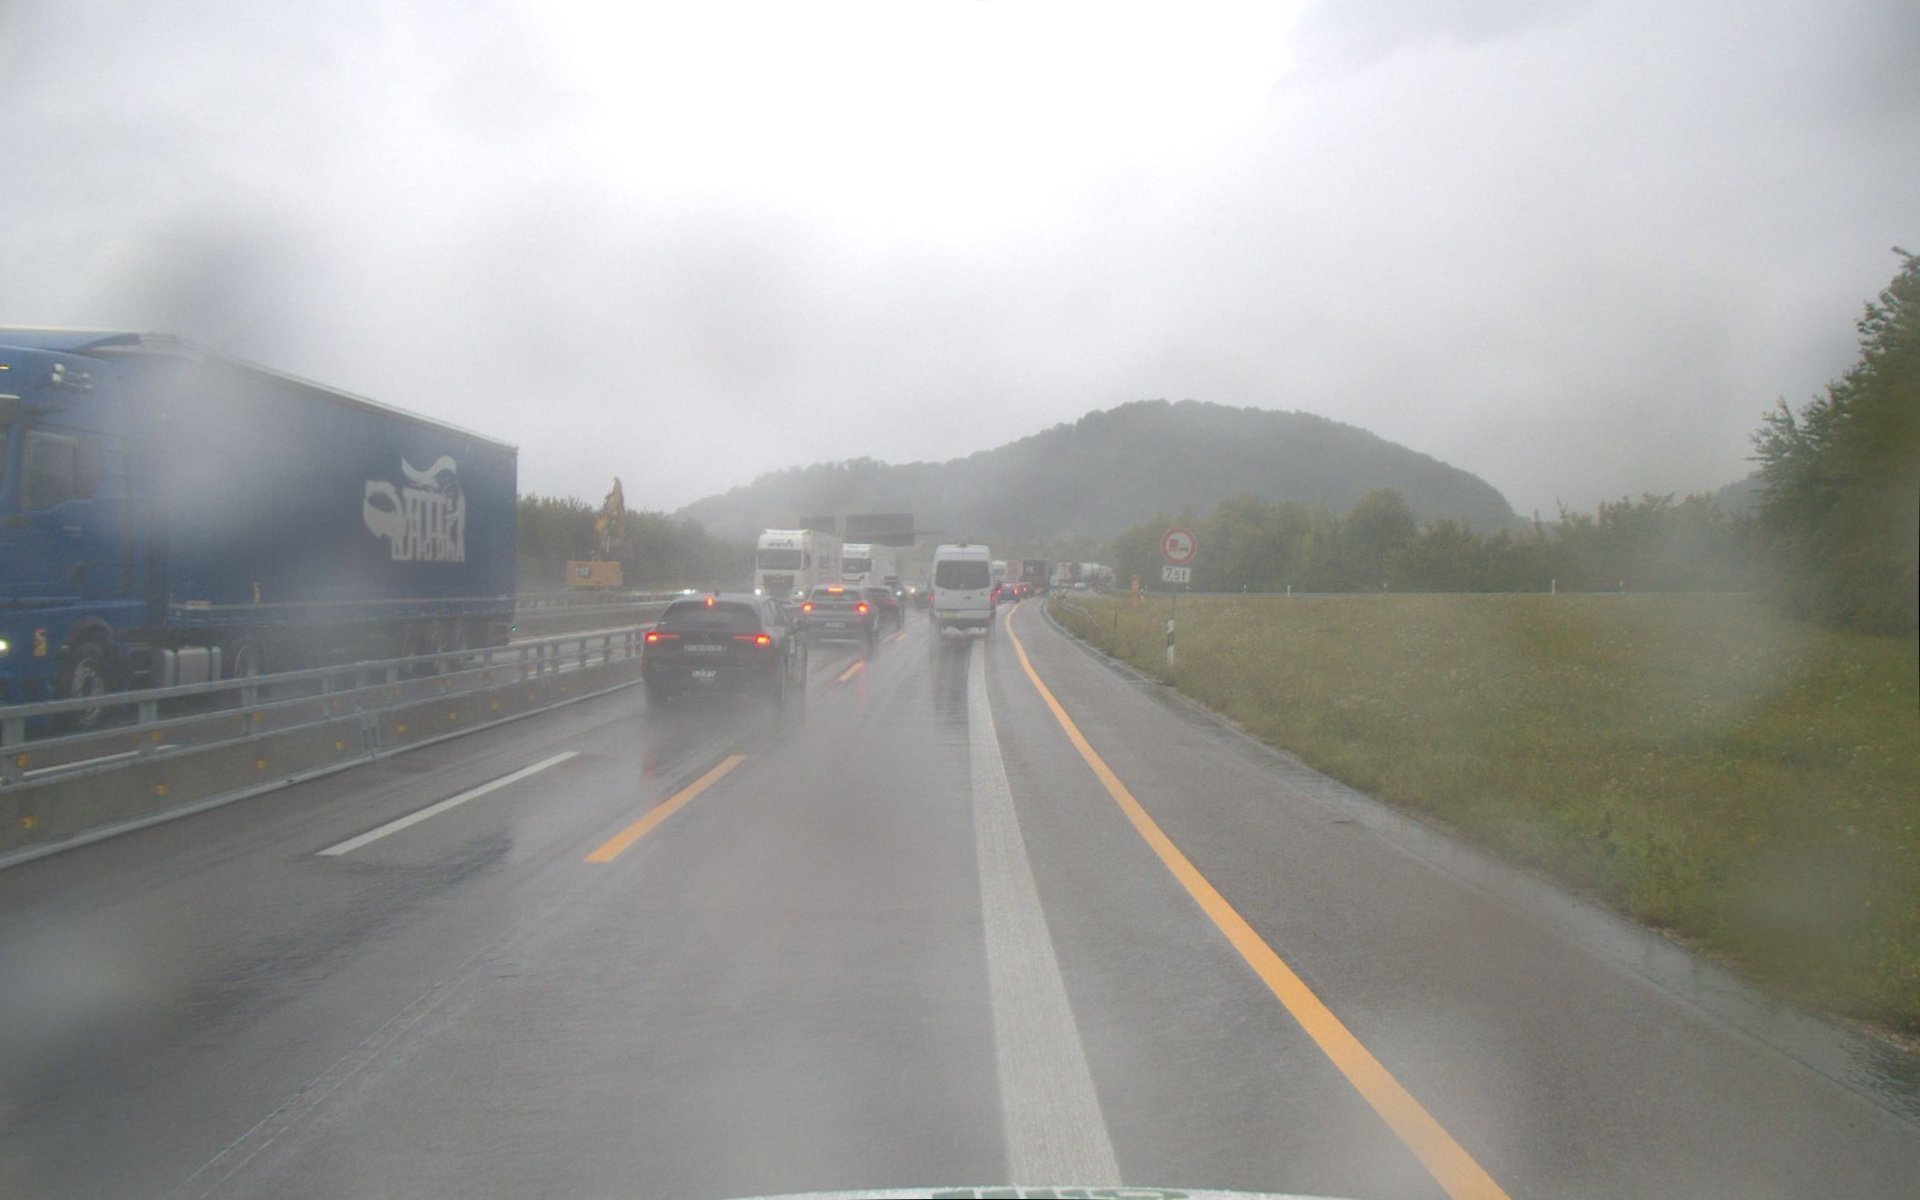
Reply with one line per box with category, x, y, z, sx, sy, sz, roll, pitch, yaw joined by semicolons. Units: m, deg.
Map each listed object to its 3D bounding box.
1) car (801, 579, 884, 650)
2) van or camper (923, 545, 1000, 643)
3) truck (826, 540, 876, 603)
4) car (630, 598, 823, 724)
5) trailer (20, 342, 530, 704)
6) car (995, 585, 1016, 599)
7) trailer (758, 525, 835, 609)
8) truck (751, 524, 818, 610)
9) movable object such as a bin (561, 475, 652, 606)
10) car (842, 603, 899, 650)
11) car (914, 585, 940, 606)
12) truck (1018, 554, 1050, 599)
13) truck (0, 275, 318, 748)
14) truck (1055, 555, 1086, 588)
car;-2.920;0.332;41.784;1.829;1.688;3.987;0;0;-1
van or camper;-0.001;-0.180;49.477;2.096;2.768;4.646;0;0;-2
truck;-7.417;-1.946;113.345;2.824;4.173;6.928;0;1;1
car;-3.002;0.726;22.219;1.899;1.452;4.760;1;0;0
trailer;-9.514;-0.912;25.287;2.546;4.149;12.432;1;0;0
car;3.506;-0.619;127.606;1.356;1.097;3.121;0;0;-2
trailer;-8.569;-1.756;88.132;2.442;4.119;12.591;0;1;2
truck;-8.719;-1.667;82.819;2.432;4.101;6.450;1;1;1
movable object such as a bin;-23.330;-3.793;109.774;3.521;8.285;8.312;2;0;4
car;-3.101;0.884;57.708;1.814;1.527;3.999;0;0;-1
car;-1.740;-0.231;87.960;1.236;1.097;3.255;0;0;1
truck;8.547;-2.649;190.389;3.251;4.868;9.912;2;0;4
truck;-9.579;-0.844;17.880;2.569;4.153;6.670;1;1;1
truck;16.740;-4.273;250.682;3.844;4.868;9.916;1;1;9
